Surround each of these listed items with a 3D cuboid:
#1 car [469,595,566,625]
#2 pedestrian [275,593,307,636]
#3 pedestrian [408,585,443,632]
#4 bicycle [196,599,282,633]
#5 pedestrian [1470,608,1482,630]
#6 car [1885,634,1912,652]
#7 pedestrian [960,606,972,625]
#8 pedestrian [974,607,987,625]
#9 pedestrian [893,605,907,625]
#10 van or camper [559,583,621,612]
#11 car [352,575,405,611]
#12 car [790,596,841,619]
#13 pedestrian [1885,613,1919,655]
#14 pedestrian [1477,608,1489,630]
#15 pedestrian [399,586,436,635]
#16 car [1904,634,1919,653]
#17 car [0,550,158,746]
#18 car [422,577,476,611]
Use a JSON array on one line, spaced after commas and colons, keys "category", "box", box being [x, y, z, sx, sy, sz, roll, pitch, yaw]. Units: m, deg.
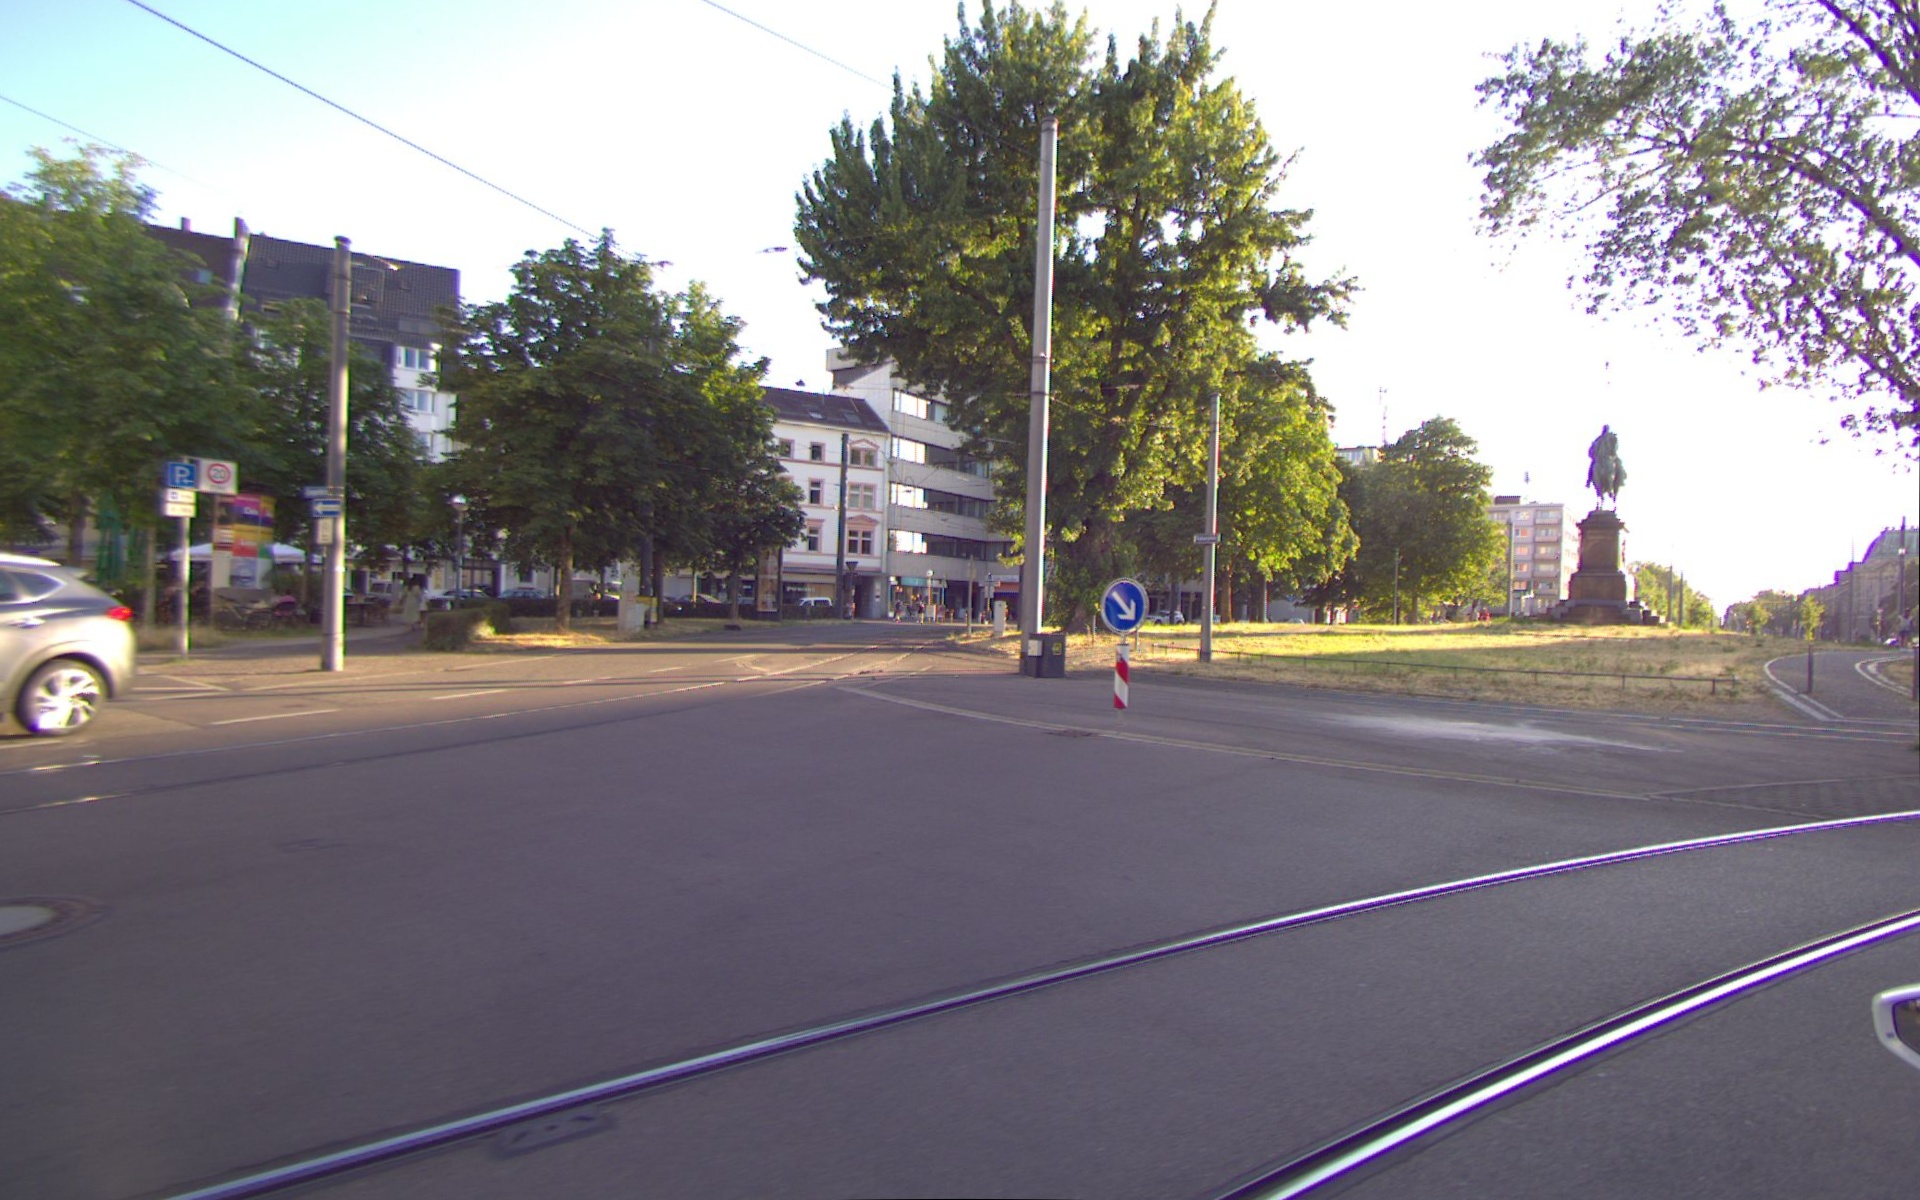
[{"category": "car", "box": [-17.814, 0.408, 40.565, 1.690, 1.133, 3.258, 1, 0, 28]}, {"category": "pedestrian", "box": [-19.751, 0.430, 29.659, 0.509, 1.250, 0.628, 2, 1, 36]}, {"category": "pedestrian", "box": [-16.606, 0.260, 31.229, 0.732, 1.429, 0.770, 1, 0, -10]}, {"category": "bicycle", "box": [-19.298, 0.433, 26.921, 1.781, 0.849, 0.457, 2, 0, -23]}, {"category": "pedestrian", "box": [39.254, 1.425, 76.455, 0.758, 1.627, 0.637, 1, 0, 32]}, {"category": "car", "box": [121.115, 5.528, 129.693, 2.112, 2.040, 3.984, 2, 0, 38]}, {"category": "pedestrian", "box": [0.538, 1.304, 85.131, 0.762, 1.523, 0.740, 1, 0, -28]}, {"category": "pedestrian", "box": [1.748, 1.329, 85.844, 0.762, 1.523, 0.740, 1, 0, -28]}, {"category": "pedestrian", "box": [-4.424, 1.103, 74.038, 0.731, 1.523, 0.771, 1, 0, 23]}, {"category": "van or camper", "box": [-22.551, -0.167, 61.178, 3.631, 1.662, 1.755, 1, 0, 34]}, {"category": "car", "box": [-31.062, -0.378, 53.621, 1.982, 1.806, 3.957, 2, 0, -37]}, {"category": "car", "box": [-11.355, 0.599, 78.810, 3.623, 1.726, 1.767, 2, 0, -26]}, {"category": "pedestrian", "box": [37.095, 1.329, 39.523, 0.757, 1.627, 0.638, 1, 0, -5]}, {"category": "pedestrian", "box": [39.386, 1.424, 75.619, 0.758, 1.627, 0.637, 1, 0, 32]}, {"category": "pedestrian", "box": [-16.223, 0.321, 30.053, 0.732, 1.429, 0.770, 1, 0, -10]}, {"category": "car", "box": [110.336, 5.035, 115.489, 2.112, 2.040, 3.984, 2, 0, 38]}, {"category": "car", "box": [-9.423, 0.426, 8.092, 1.930, 1.699, 4.361, -1, 0, 13]}, {"category": "car", "box": [-28.603, -0.346, 56.164, 1.982, 1.806, 3.957, 2, 0, -37]}]
